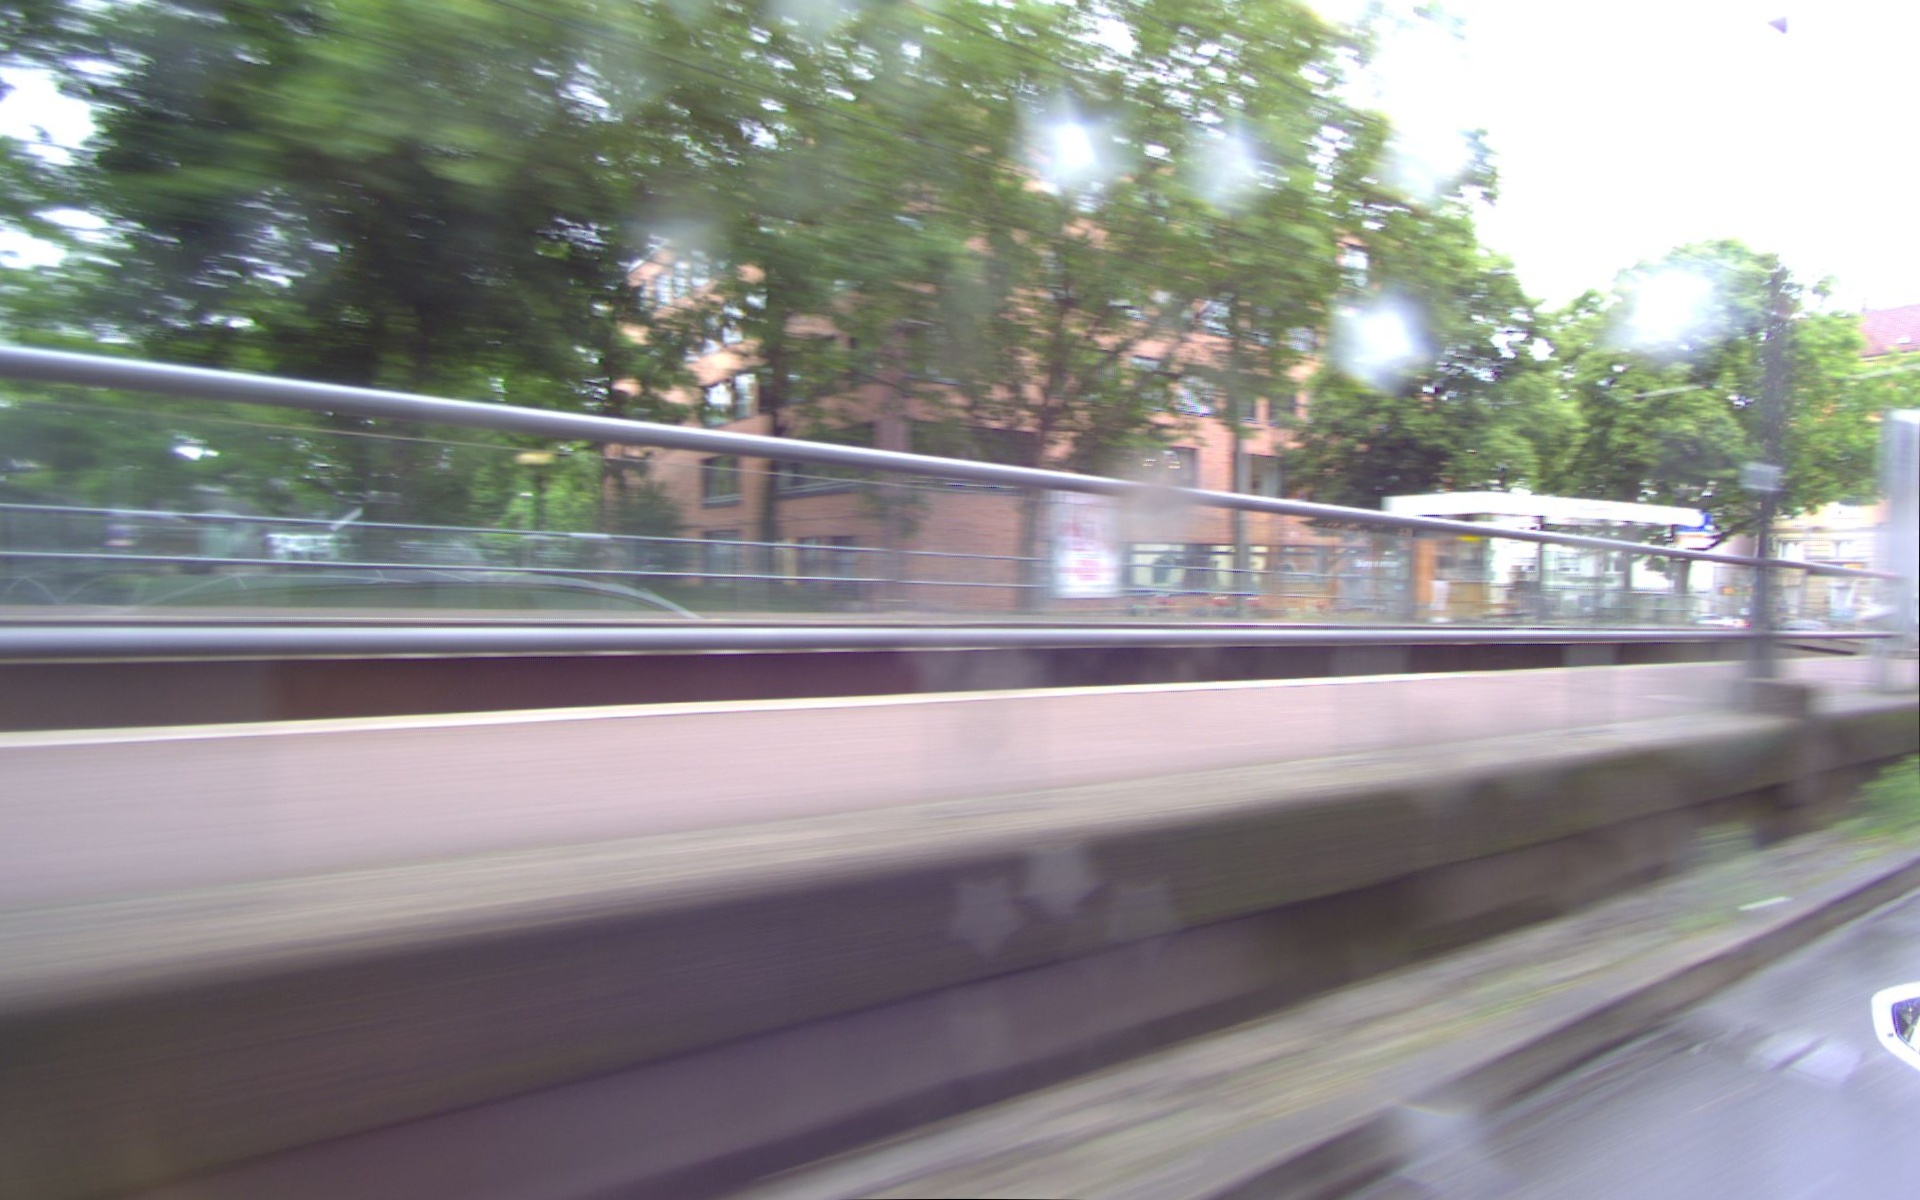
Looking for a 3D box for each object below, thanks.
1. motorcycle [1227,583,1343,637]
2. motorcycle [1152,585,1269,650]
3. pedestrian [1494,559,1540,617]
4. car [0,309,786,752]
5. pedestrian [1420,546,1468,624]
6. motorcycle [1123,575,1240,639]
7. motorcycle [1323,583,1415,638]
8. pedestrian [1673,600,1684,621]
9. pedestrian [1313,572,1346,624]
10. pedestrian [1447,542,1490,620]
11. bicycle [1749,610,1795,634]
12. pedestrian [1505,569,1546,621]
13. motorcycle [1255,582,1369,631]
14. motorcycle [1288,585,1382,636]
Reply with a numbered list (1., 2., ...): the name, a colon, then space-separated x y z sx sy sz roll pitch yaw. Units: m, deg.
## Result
1. motorcycle: 10.831 0.297 33.688 0.996 1.627 3.837 1 2 -35
2. motorcycle: 7.922 0.498 32.041 0.996 1.840 3.837 1 2 -35
3. pedestrian: 13.716 -0.297 24.741 0.559 1.381 0.771 0 3 -36
4. car: -2.705 -0.231 4.455 3.428 1.409 1.680 1 1 -34
5. pedestrian: 10.488 -0.336 21.779 0.559 1.663 0.681 0 3 -36
6. motorcycle: 6.796 0.174 31.159 0.996 1.798 3.837 1 2 -35
7. motorcycle: 14.810 0.343 36.484 0.984 1.840 3.015 1 2 -35
8. pedestrian: 58.322 0.858 81.515 0.507 1.644 0.486 2 2 16
9. pedestrian: 14.769 -0.093 40.108 0.969 2.041 0.729 1 2 -31
10. pedestrian: 11.596 -0.435 22.897 0.699 1.738 0.558 0 3 -37
11. bicycle: 43.696 1.163 54.059 0.514 1.211 1.851 0 2 -45
12. pedestrian: 14.172 -0.132 25.180 0.559 1.257 0.698 0 3 -36
13. motorcycle: 12.241 0.199 35.143 0.996 1.508 3.837 1 2 -35
14. motorcycle: 13.274 0.337 35.677 0.996 1.649 3.037 1 2 -35
